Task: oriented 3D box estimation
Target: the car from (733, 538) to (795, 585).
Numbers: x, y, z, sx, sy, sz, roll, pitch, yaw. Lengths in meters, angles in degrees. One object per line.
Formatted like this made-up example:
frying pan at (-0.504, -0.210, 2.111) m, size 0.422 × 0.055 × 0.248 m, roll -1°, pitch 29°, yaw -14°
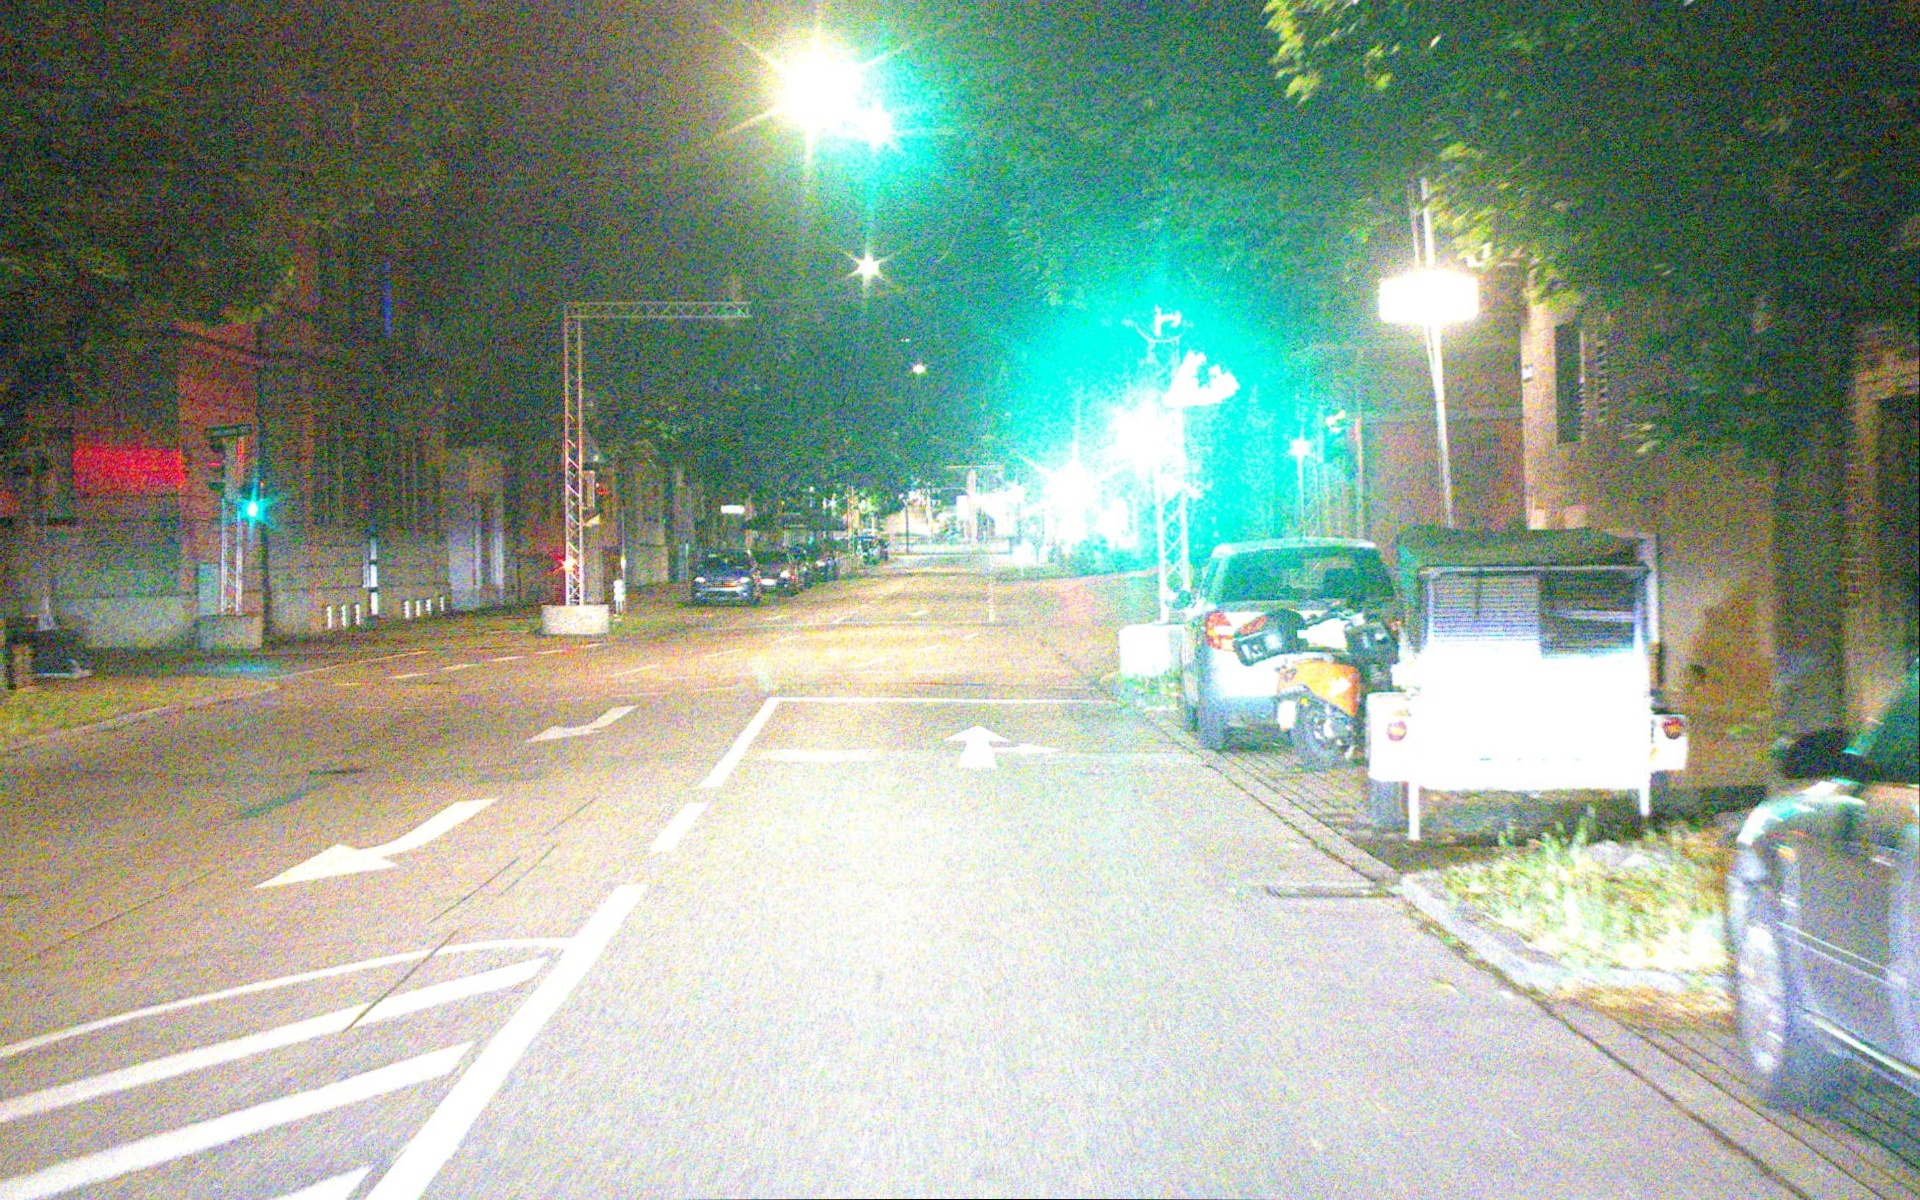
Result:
car at (-5.994, -1.189, 105.483) m, size 1.740 × 1.411 × 3.752 m, roll 0°, pitch 1°, yaw -1°

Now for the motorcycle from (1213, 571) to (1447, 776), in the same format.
motorcycle at (2.459, 0.452, 22.649) m, size 0.637 × 1.265 × 2.060 m, roll 0°, pitch 1°, yaw 34°

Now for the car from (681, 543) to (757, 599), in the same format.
car at (-6.265, -0.776, 89.679) m, size 1.740 × 1.411 × 3.752 m, roll 0°, pitch 1°, yaw -1°

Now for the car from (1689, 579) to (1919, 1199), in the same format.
car at (2.808, 0.677, 7.574) m, size 1.520 × 1.391 × 3.985 m, roll -2°, pitch 1°, yaw 0°

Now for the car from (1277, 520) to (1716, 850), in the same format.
car at (2.795, 0.366, 18.743) m, size 1.591 × 1.529 × 4.138 m, roll -3°, pitch 1°, yaw -1°

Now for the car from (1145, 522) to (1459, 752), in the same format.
car at (2.521, 0.215, 26.286) m, size 1.853 × 1.584 × 4.301 m, roll -1°, pitch 1°, yaw -1°

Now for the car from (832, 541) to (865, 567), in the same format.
car at (-6.123, -2.514, 188.734) m, size 1.740 × 1.411 × 3.752 m, roll 0°, pitch 1°, yaw -1°

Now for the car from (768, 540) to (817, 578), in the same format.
car at (-6.469, -1.604, 132.995) m, size 1.740 × 1.411 × 3.752 m, roll 0°, pitch 1°, yaw -1°

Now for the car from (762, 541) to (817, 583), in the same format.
car at (-5.905, -1.328, 119.116) m, size 1.740 × 1.411 × 3.752 m, roll 0°, pitch 1°, yaw -1°
